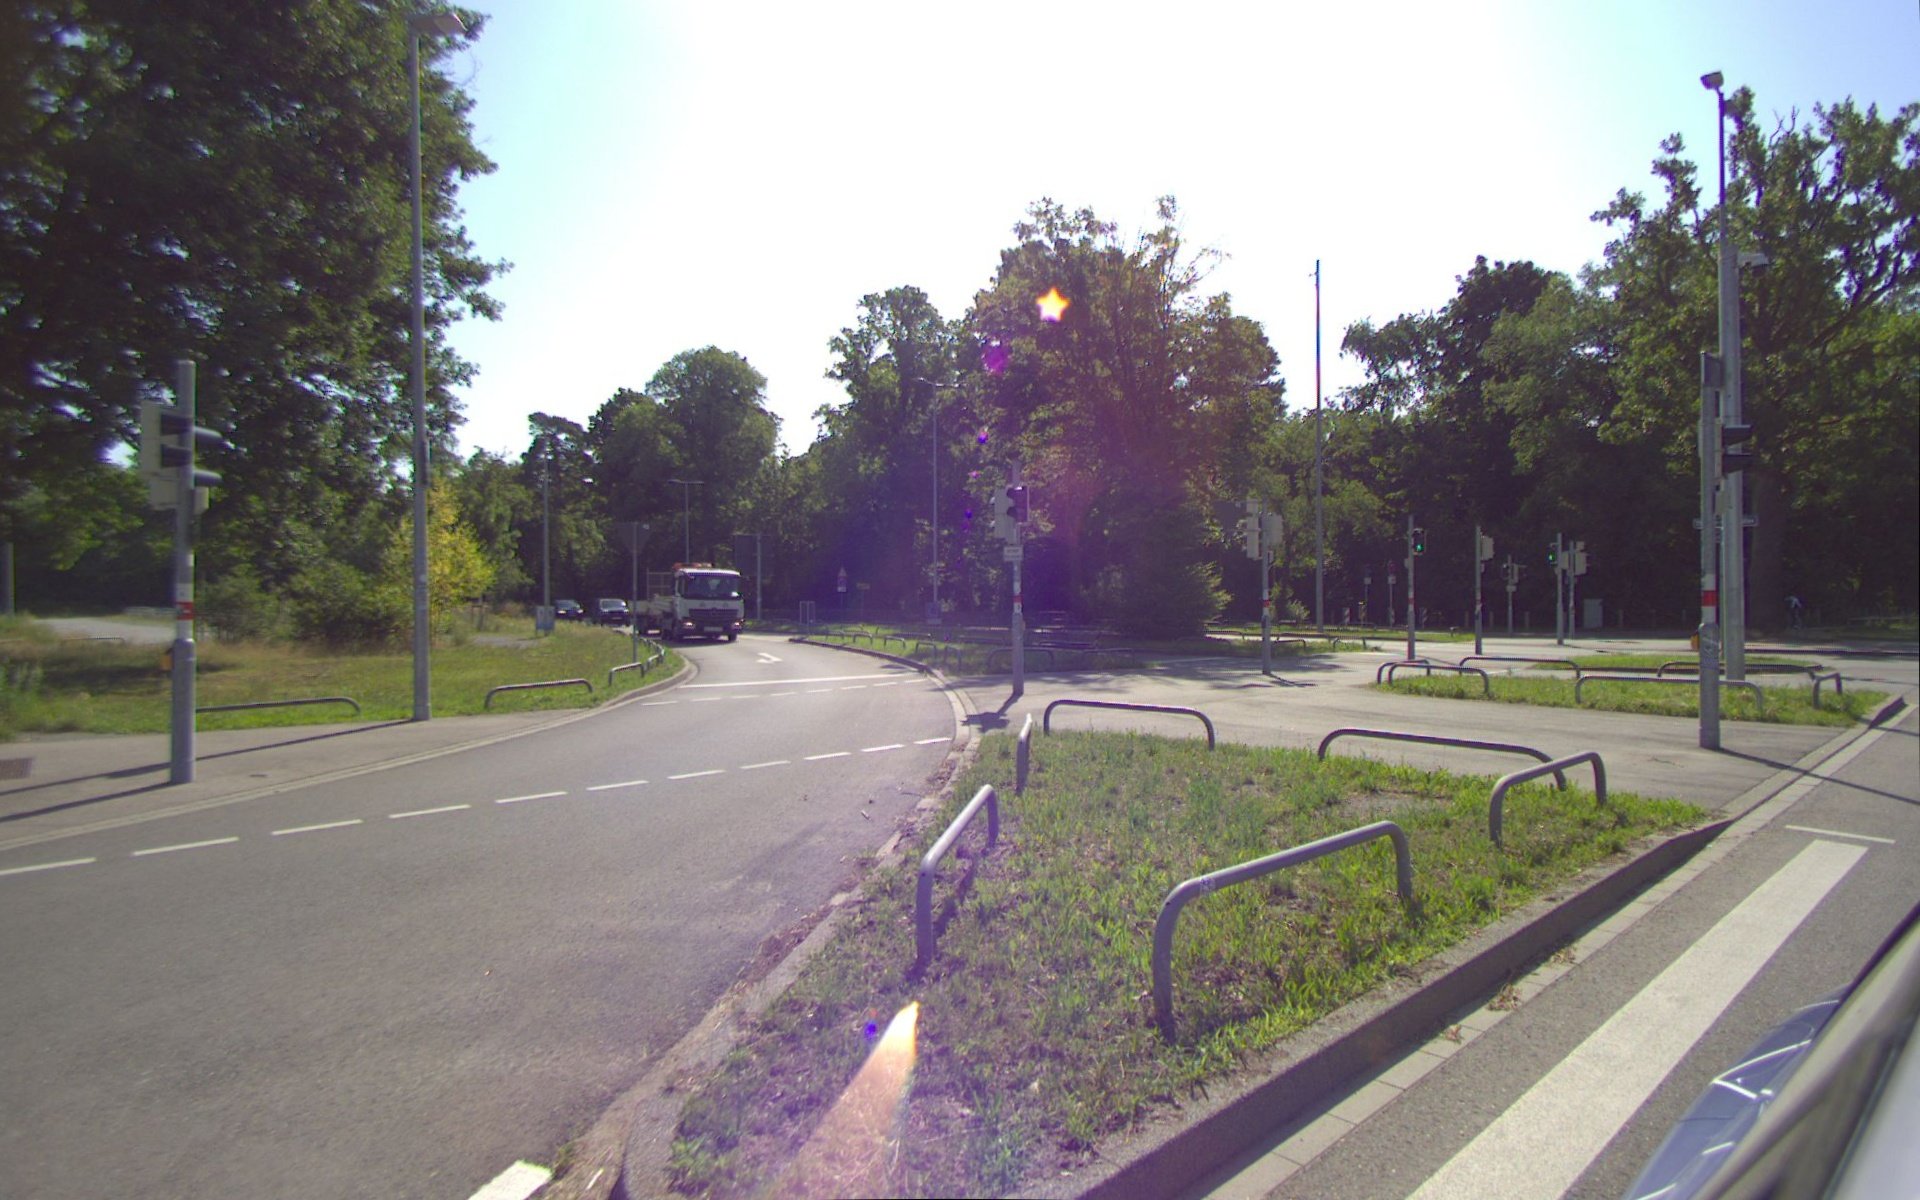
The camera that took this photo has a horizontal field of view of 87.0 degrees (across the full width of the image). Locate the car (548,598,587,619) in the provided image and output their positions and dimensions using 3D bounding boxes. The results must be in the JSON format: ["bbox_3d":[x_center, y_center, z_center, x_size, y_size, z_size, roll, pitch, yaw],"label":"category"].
[{"bbox_3d":[-28.345,0.585,72.979,1.961,1.505,4.002,0,0,-32],"label":"car"}]

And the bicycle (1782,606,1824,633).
[{"bbox_3d":[39.764,0.916,47.736,2.058,1.214,0.727,0,0,-27],"label":"bicycle"}]

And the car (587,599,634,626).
[{"bbox_3d":[-20.393,0.715,58.929,1.810,1.502,4.003,0,0,-31],"label":"car"}]

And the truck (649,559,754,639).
[{"bbox_3d":[-9.875,-0.041,38.181,2.625,2.752,6.212,0,0,-26],"label":"truck"}]

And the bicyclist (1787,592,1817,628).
[{"bbox_3d":[39.679,0.461,47.689,1.036,1.660,0.727,0,0,-26],"label":"bicyclist"}]

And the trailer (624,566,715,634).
[{"bbox_3d":[-12.749,-0.003,44.018,2.648,2.721,6.898,0,0,-26],"label":"trailer"}]
